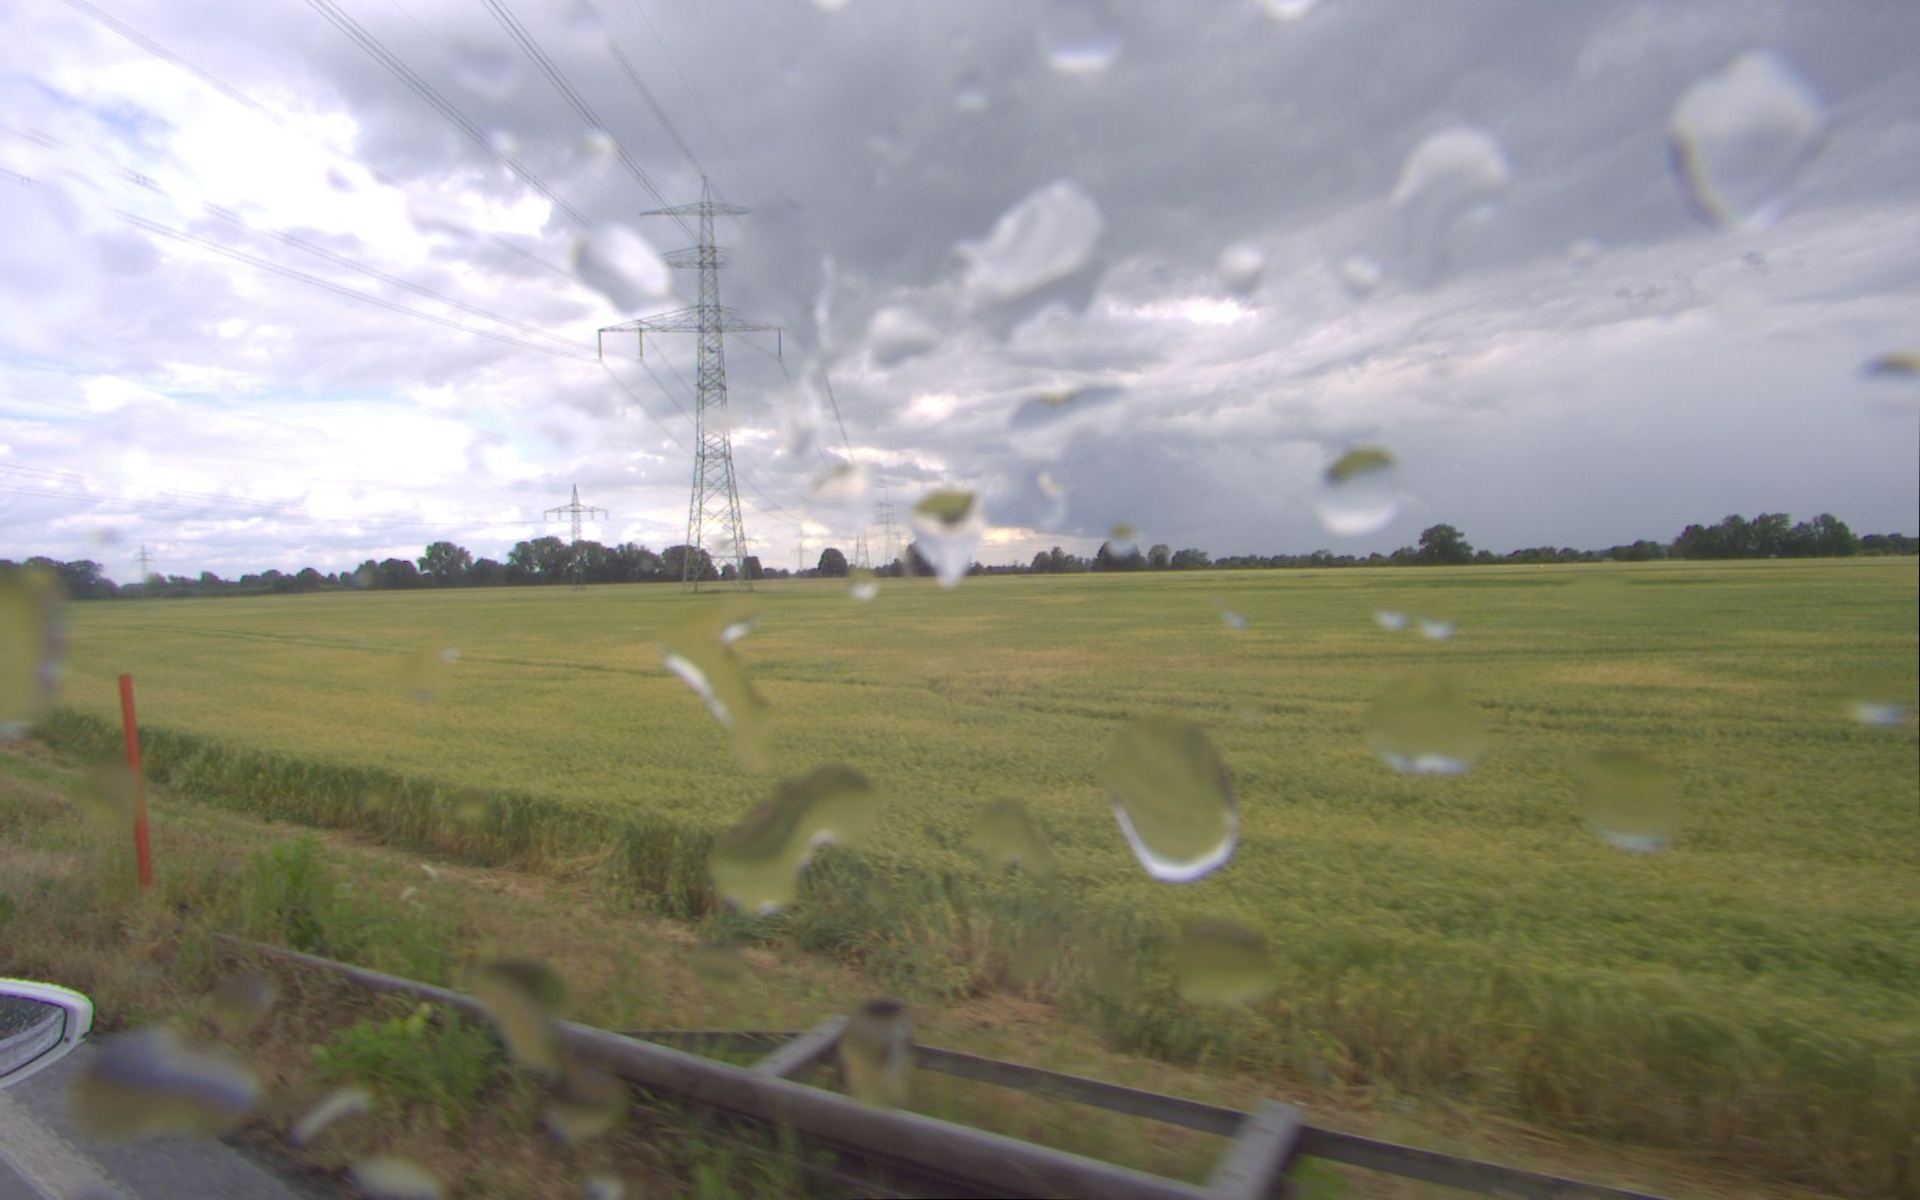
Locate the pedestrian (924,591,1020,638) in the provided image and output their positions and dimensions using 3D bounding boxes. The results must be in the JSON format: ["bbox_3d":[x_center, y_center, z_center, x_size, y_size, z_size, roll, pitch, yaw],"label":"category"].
[{"bbox_3d":[0.551,0.704,46.311,3.938,2.039,1.993,-2,-2,28],"label":"pedestrian"}]
